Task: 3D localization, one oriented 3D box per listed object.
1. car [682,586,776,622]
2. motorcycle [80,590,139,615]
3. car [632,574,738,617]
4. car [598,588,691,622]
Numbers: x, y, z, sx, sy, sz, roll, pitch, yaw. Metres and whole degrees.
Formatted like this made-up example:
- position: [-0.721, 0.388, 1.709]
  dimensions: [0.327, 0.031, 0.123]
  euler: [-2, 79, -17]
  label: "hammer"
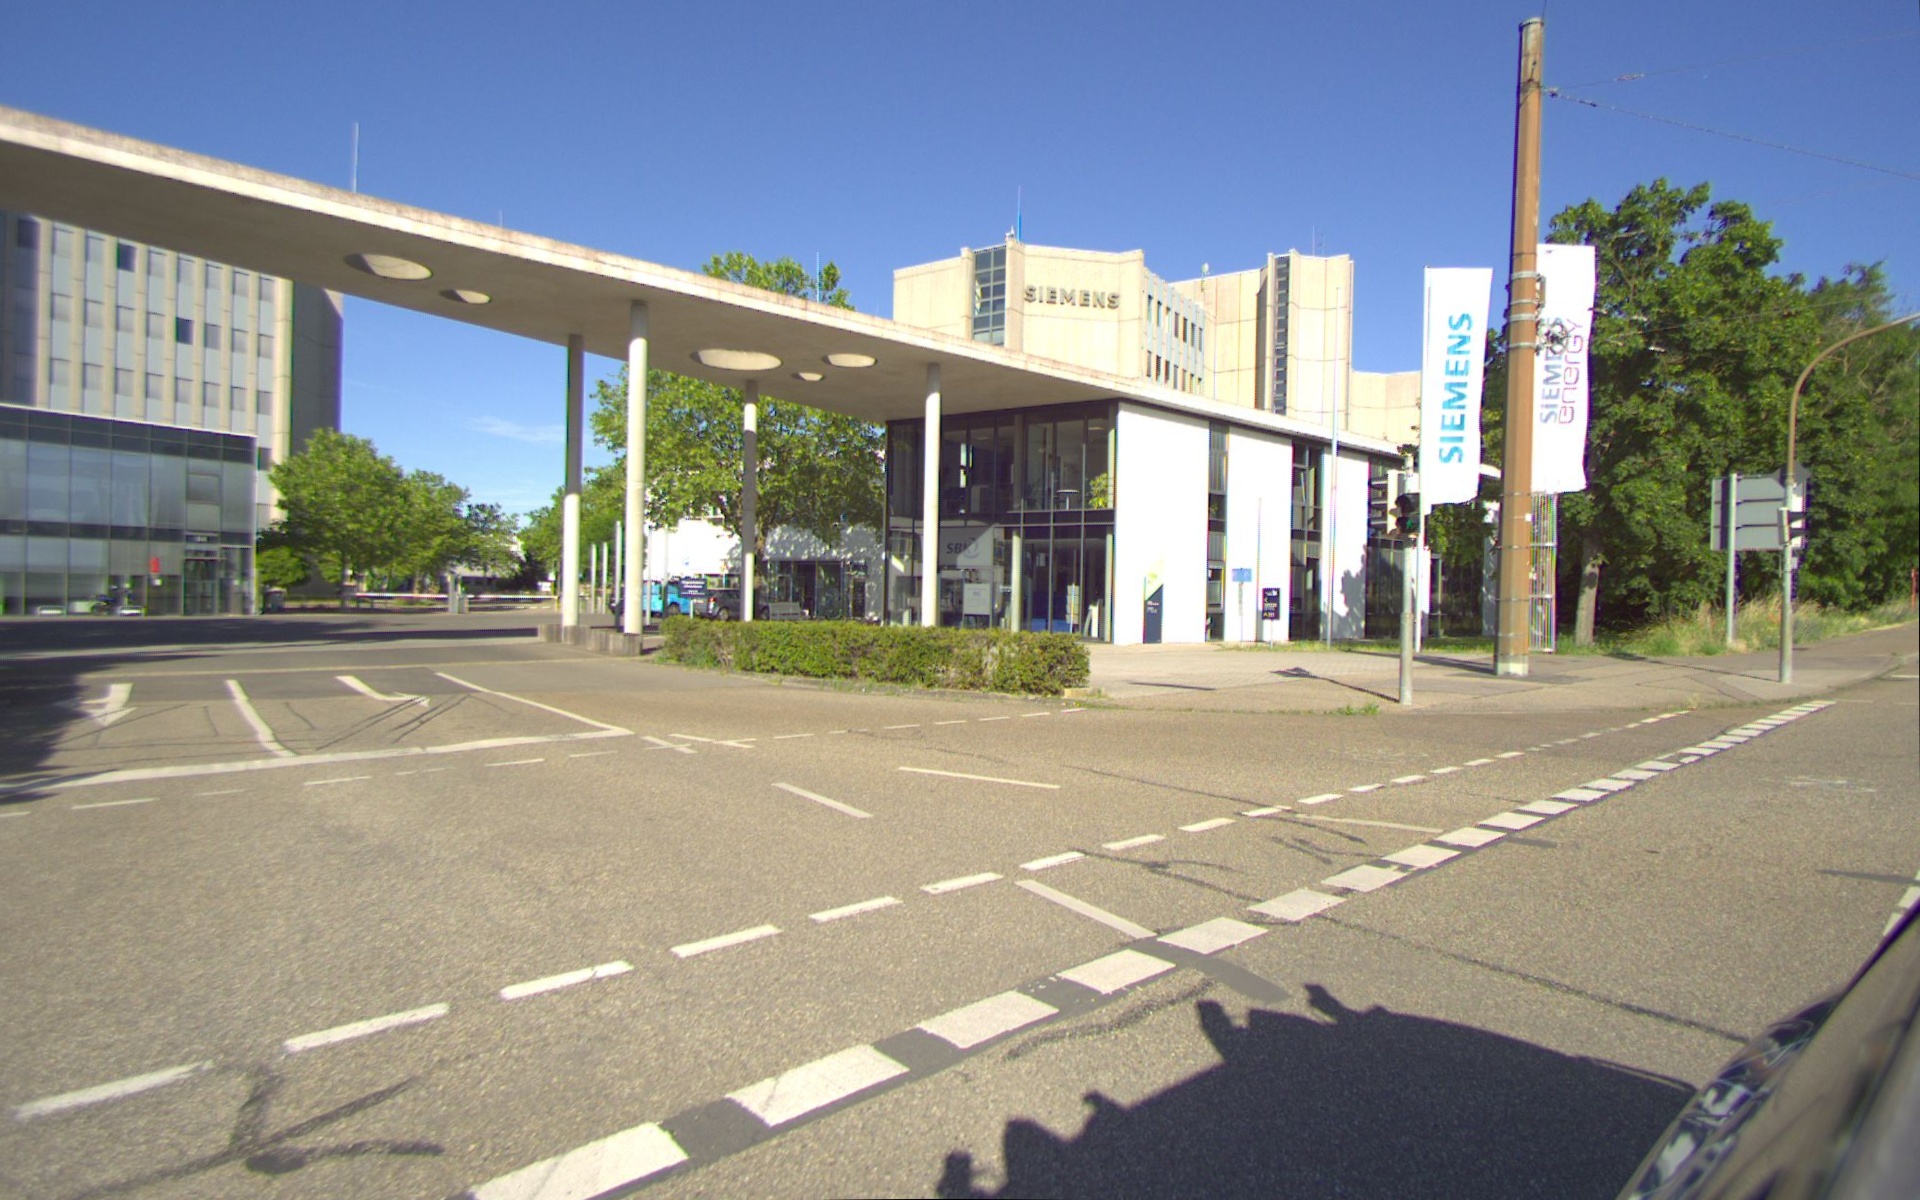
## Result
- position: [-10.133, 0.163, 44.604]
  dimensions: [1.766, 1.462, 3.952]
  euler: [2, 1, 33]
  label: "car"
- position: [-34.119, 0.097, 40.619]
  dimensions: [0.649, 0.959, 1.712]
  euler: [1, 1, 35]
  label: "motorcycle"
- position: [-12.420, -0.228, 45.997]
  dimensions: [1.766, 1.819, 4.668]
  euler: [1, 1, 33]
  label: "car"
- position: [-14.755, 0.205, 47.548]
  dimensions: [1.766, 1.462, 3.952]
  euler: [2, 1, 33]
  label: "car"
